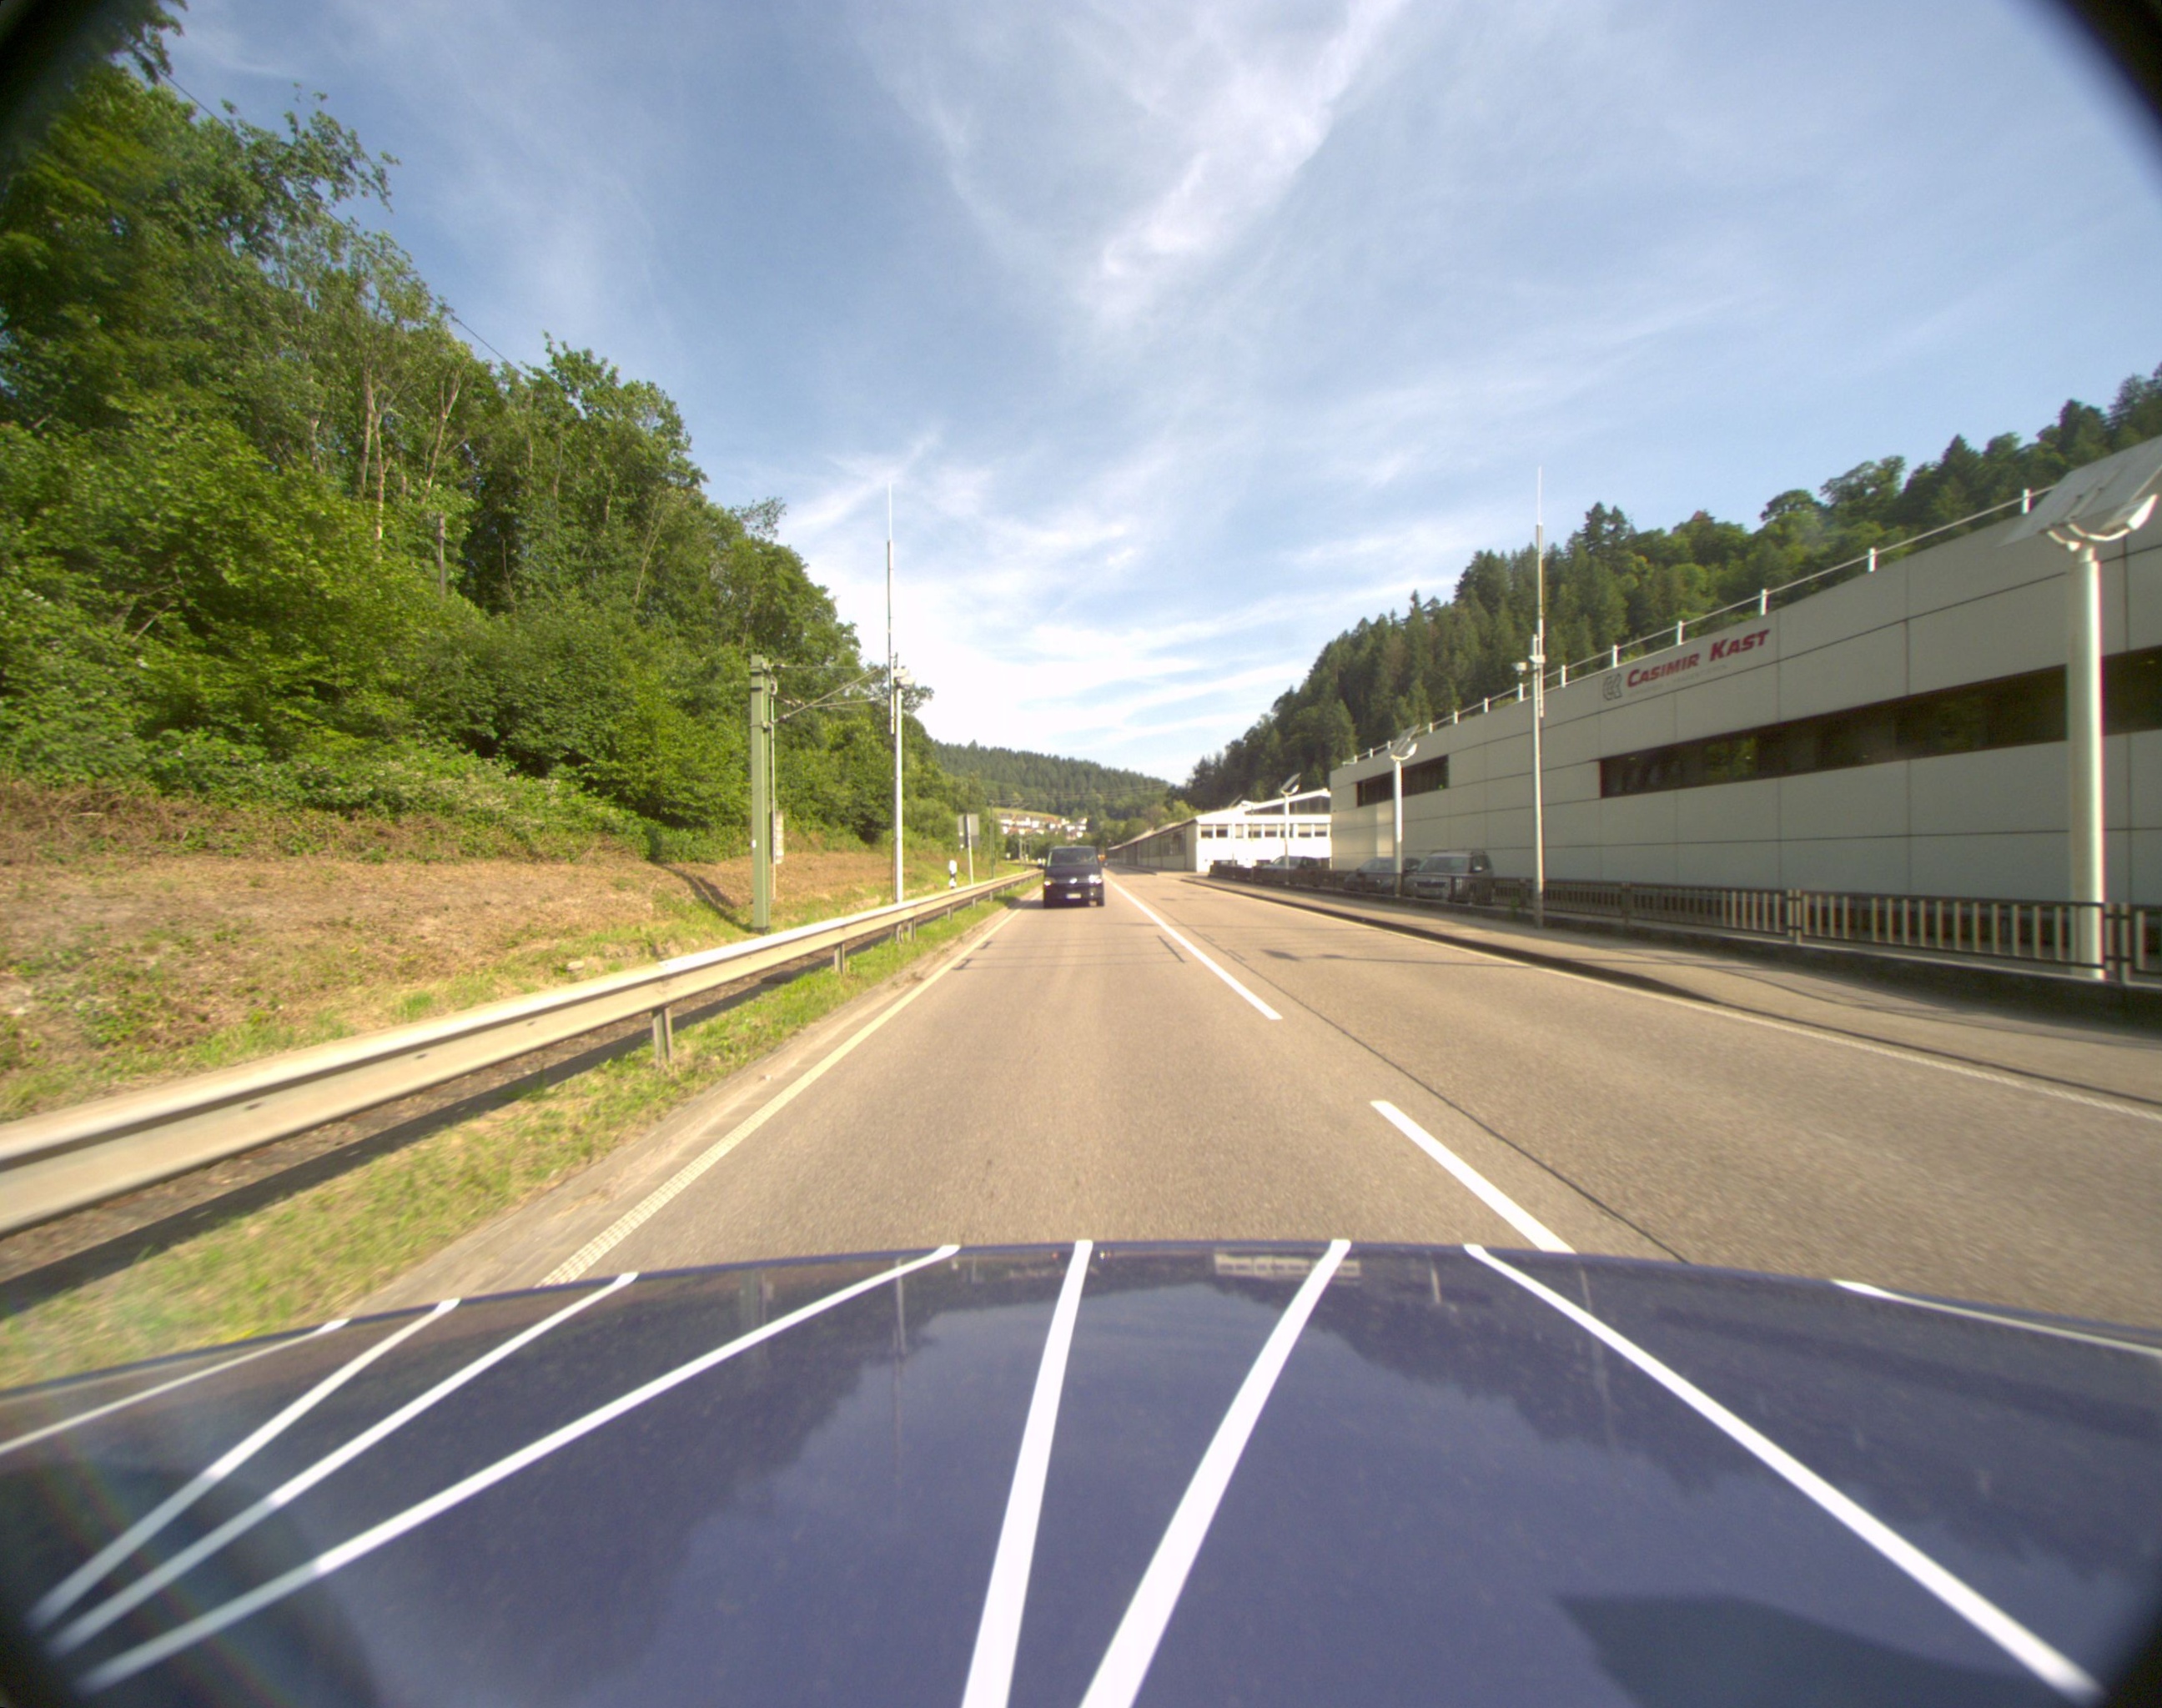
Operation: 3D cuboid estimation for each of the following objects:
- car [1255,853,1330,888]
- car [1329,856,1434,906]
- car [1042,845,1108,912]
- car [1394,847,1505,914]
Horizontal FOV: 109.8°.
[{"bbox_3d":[10.448,0.777,37.387,1.883,1.582,4.184,-1,0,42],"label":"car"},{"bbox_3d":[10.432,0.858,26.181,1.883,1.486,4.498,-1,0,42],"label":"car"},{"bbox_3d":[-0.300,0.737,25.327,1.901,1.927,5.187,-2,0,-3],"label":"car"},{"bbox_3d":[10.748,0.703,22.028,1.776,1.698,4.119,-1,0,42],"label":"car"}]
